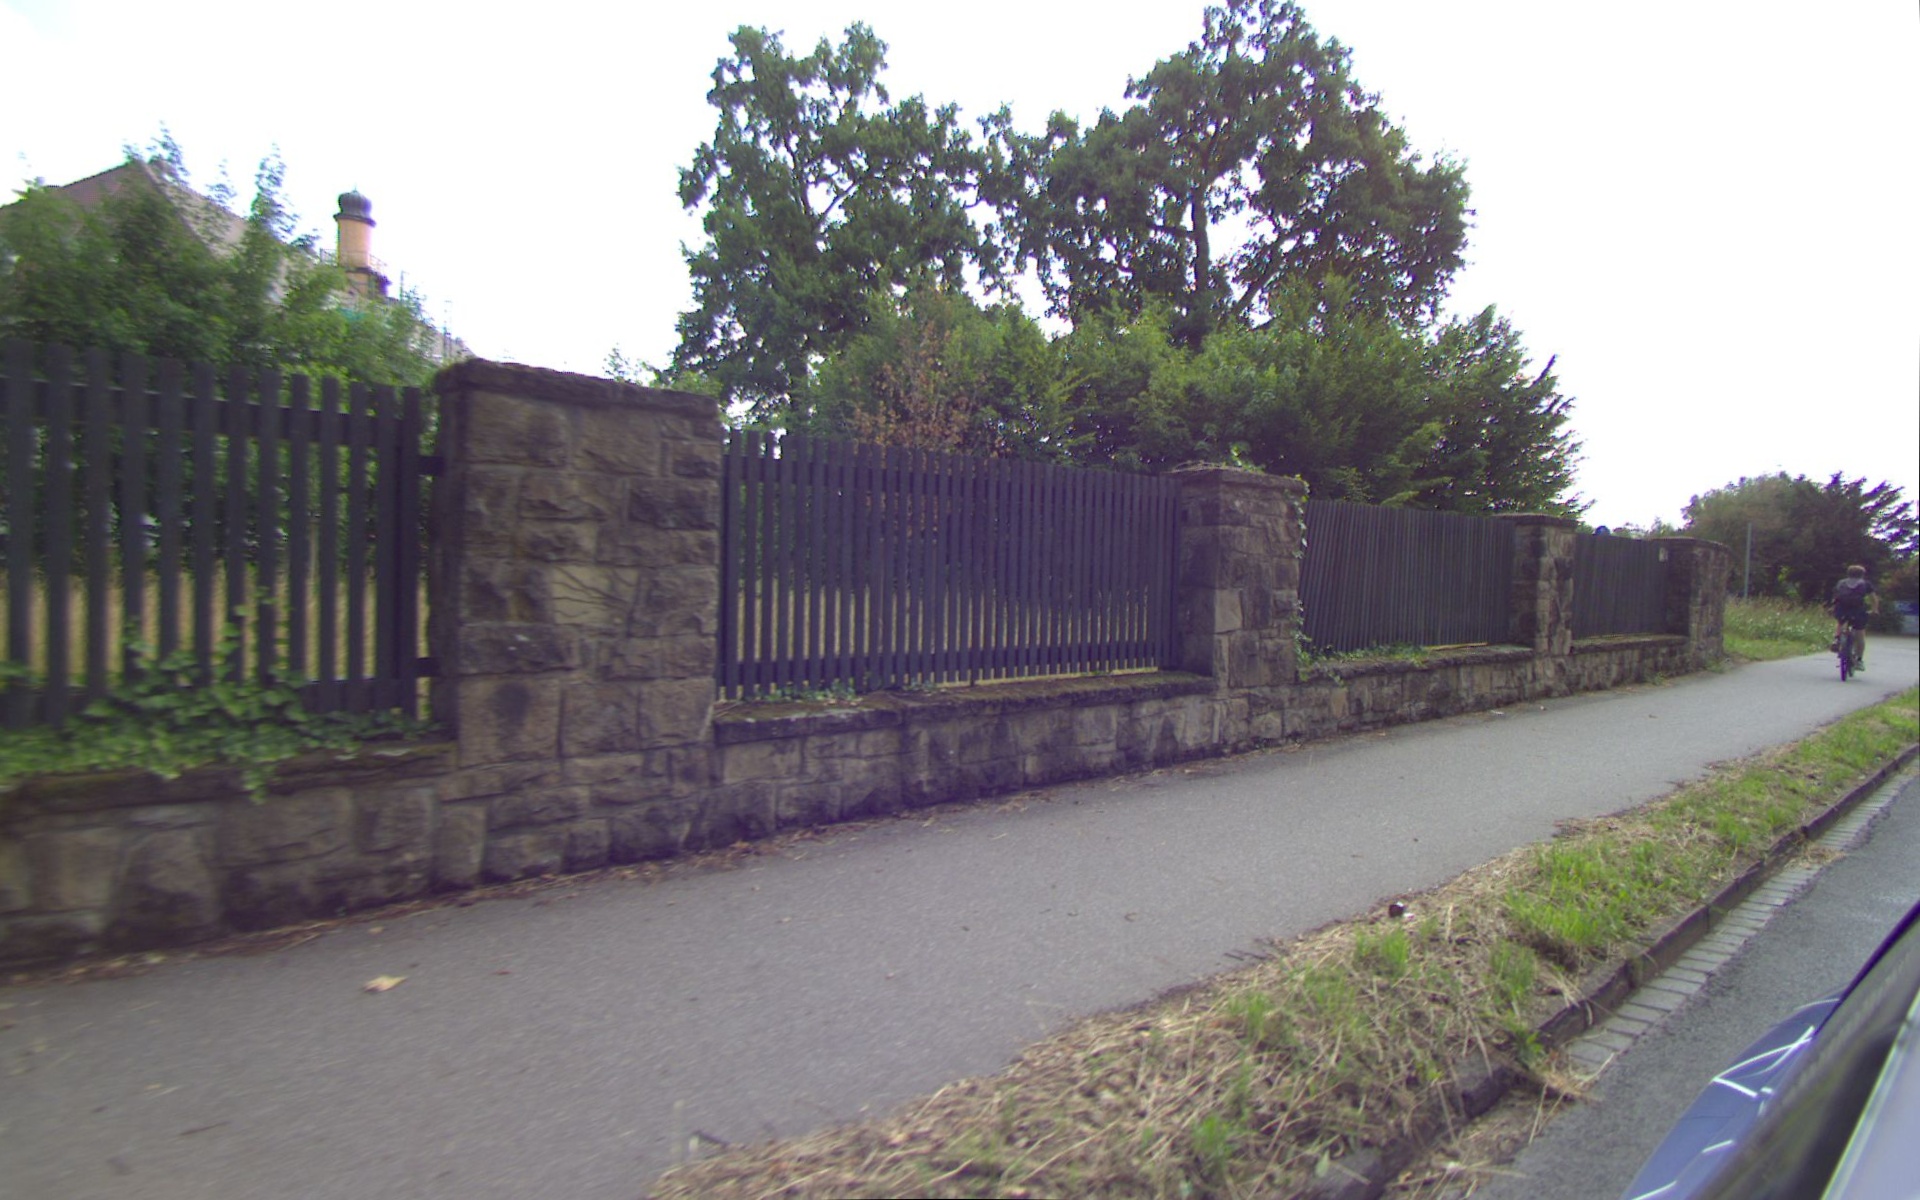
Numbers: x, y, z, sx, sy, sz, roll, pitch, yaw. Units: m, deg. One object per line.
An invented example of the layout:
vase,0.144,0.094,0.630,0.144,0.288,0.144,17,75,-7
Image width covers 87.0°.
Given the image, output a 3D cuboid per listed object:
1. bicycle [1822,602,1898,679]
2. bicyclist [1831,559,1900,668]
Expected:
bicycle,13.946,0.595,15.662,2.119,1.086,0.559,1,3,-41
bicyclist,14.022,0.196,15.667,1.184,1.607,0.571,1,3,-41
